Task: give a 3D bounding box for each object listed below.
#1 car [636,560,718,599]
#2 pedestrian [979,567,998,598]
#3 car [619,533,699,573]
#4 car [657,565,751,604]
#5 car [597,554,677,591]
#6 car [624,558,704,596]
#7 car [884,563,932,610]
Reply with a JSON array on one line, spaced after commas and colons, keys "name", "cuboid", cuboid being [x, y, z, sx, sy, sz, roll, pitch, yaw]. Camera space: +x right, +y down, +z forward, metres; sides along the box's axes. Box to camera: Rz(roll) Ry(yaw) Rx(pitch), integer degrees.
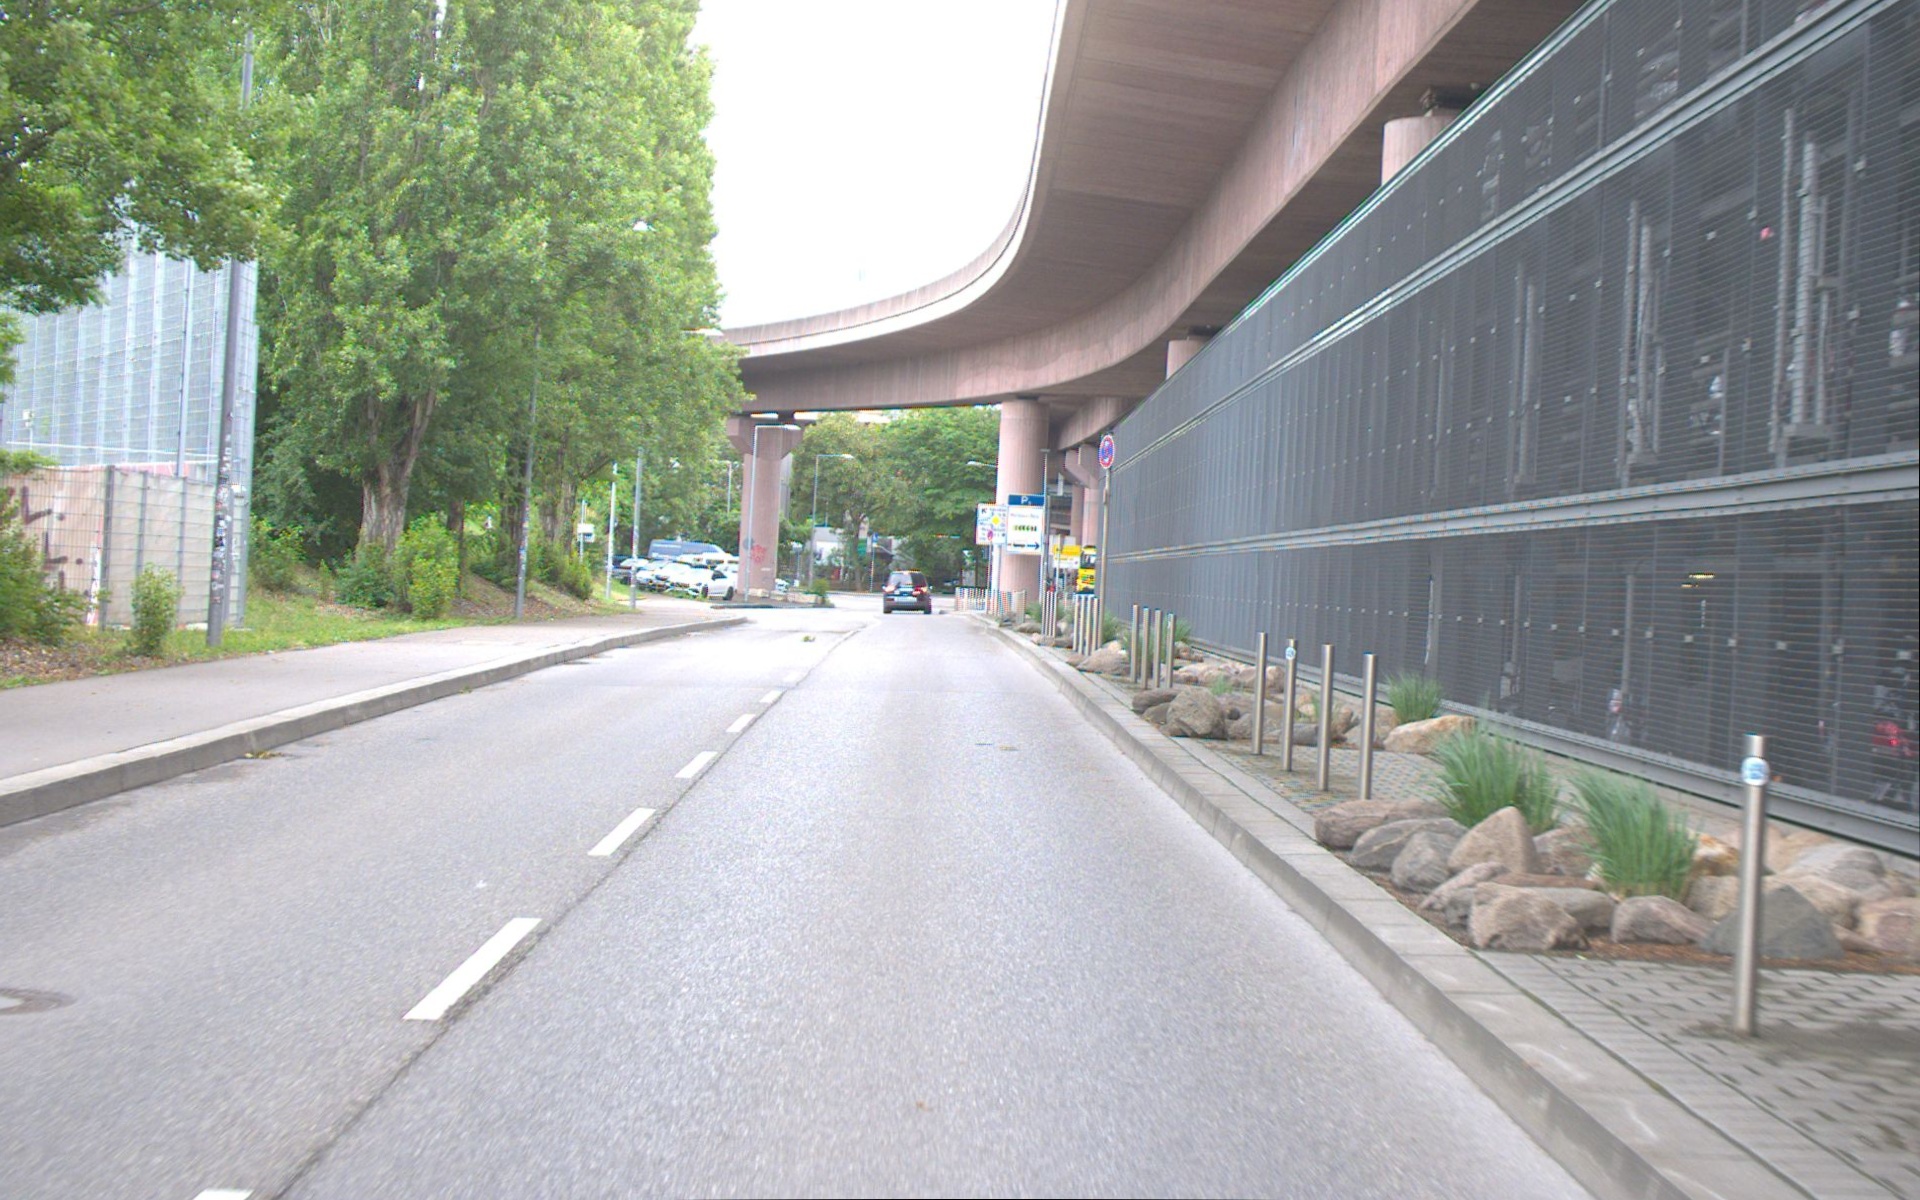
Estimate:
[{"name": "car", "cuboid": [-13.454, -0.976, 163.558, 1.724, 1.711, 3.664, 4, 3, 41]}, {"name": "pedestrian", "cuboid": [1.711, -1.059, 209.077, 0.769, 1.870, 0.824, 1, 2, -31]}, {"name": "car", "cuboid": [-16.770, -2.627, 191.647, 4.213, 2.007, 2.000, 3, 1, -2]}, {"name": "car", "cuboid": [-11.856, -0.708, 159.296, 1.884, 1.711, 4.143, 4, 3, 41]}, {"name": "car", "cuboid": [-16.017, -1.336, 170.421, 1.806, 1.711, 3.664, 4, 3, 41]}, {"name": "car", "cuboid": [-14.392, -1.126, 167.104, 1.724, 1.711, 3.664, 4, 3, 41]}, {"name": "car", "cuboid": [-2.088, -0.550, 138.539, 1.839, 1.705, 3.706, 3, 2, 0]}]
